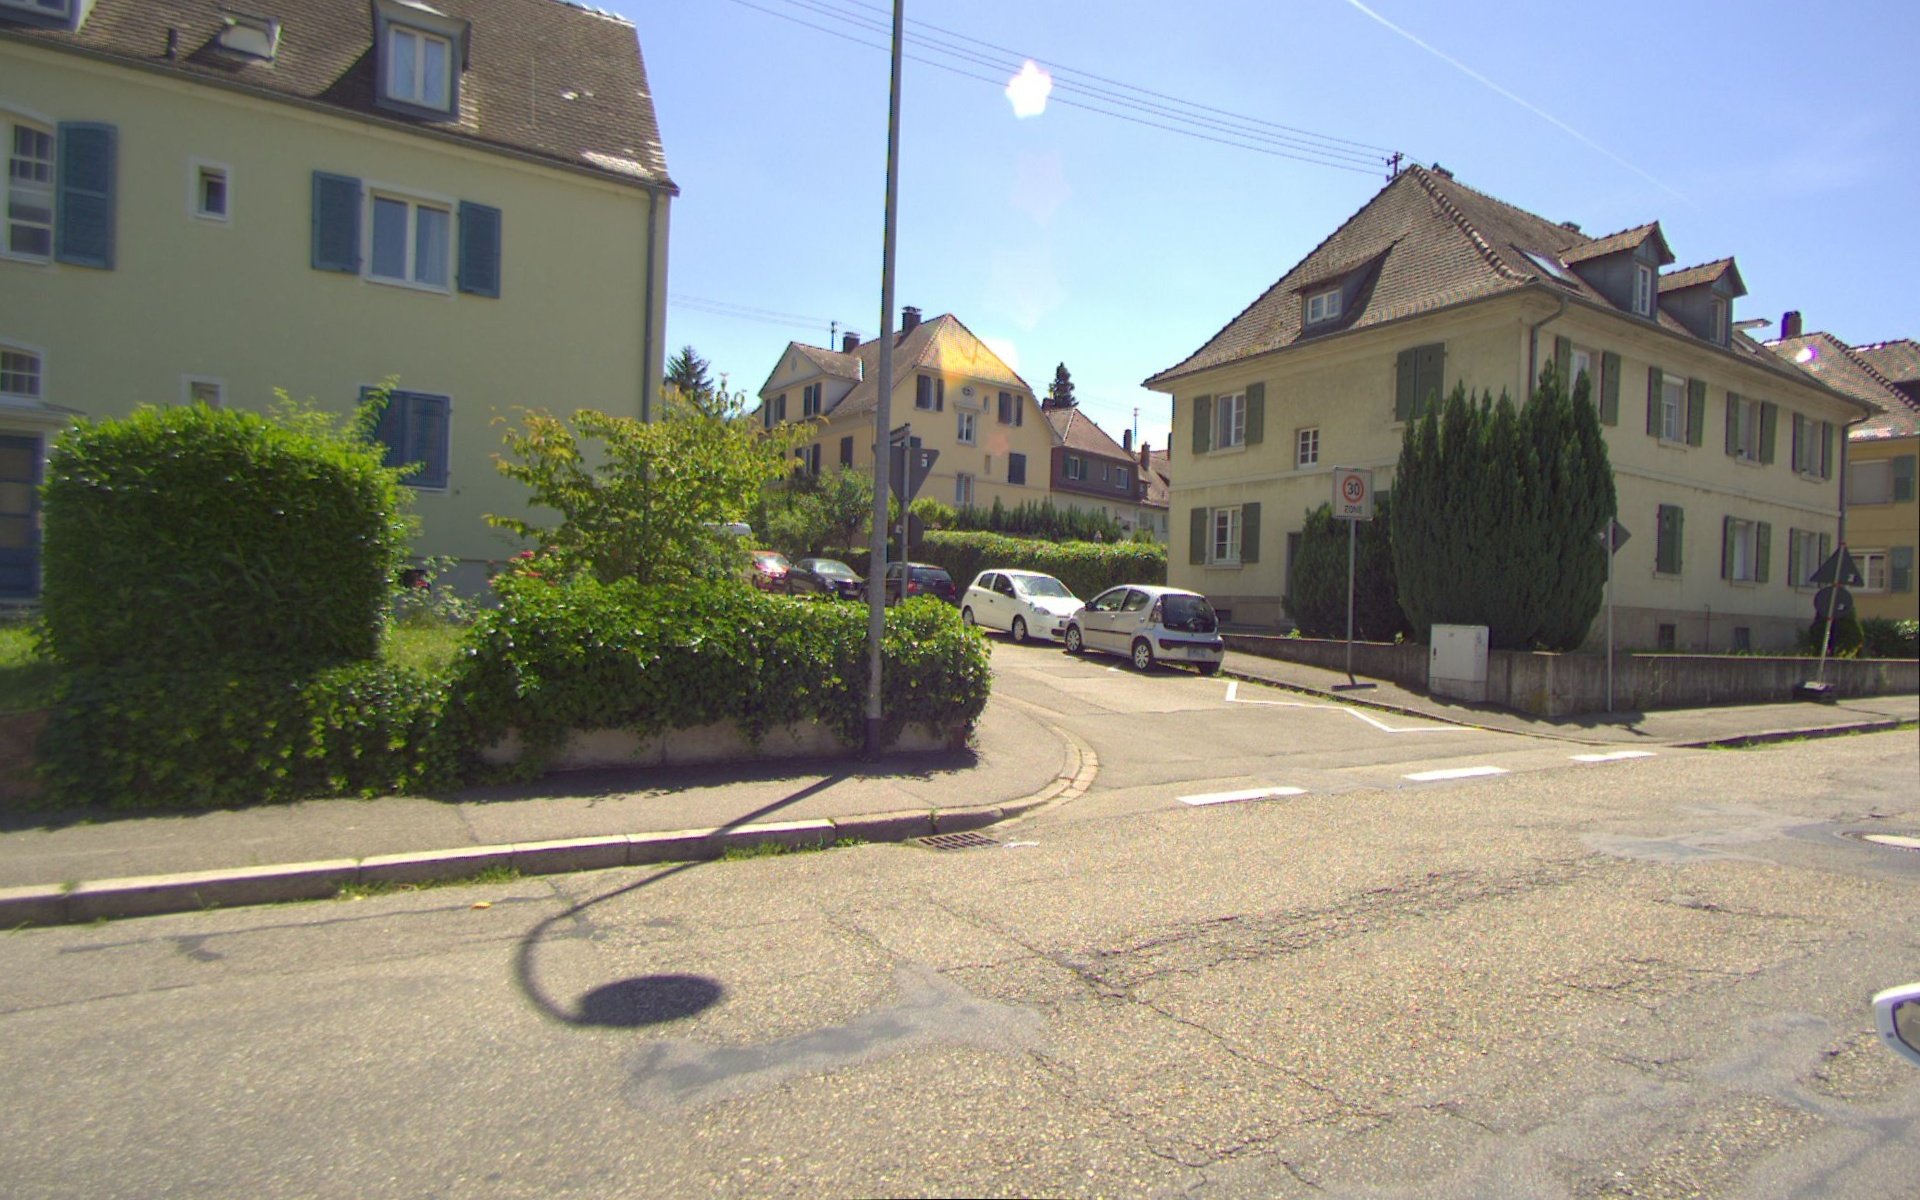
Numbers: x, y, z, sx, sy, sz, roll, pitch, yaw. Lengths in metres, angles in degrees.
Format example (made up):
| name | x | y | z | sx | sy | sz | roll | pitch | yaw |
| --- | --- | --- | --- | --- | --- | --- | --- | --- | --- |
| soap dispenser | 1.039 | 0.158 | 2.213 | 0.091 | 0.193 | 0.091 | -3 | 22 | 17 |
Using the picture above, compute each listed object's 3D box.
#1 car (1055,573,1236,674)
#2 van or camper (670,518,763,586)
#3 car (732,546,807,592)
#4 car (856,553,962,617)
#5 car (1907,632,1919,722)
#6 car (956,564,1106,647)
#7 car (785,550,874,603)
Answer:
| name | x | y | z | sx | sy | sz | roll | pitch | yaw |
| --- | --- | --- | --- | --- | --- | --- | --- | --- | --- |
| car | 3.350 | 0.381 | 18.693 | 1.711 | 1.476 | 3.192 | 3 | 4 | -24 |
| van or camper | -10.795 | -2.097 | 44.221 | 1.982 | 2.747 | 5.312 | 2 | 1 | -37 |
| car | -7.335 | -1.203 | 38.433 | 1.728 | 1.476 | 3.564 | 3 | 3 | -29 |
| car | -1.491 | -0.448 | 28.298 | 1.713 | 1.476 | 3.189 | 3 | 4 | -28 |
| car | 17.764 | 1.313 | 16.959 | 3.883 | 1.466 | 1.749 | 2 | -1 | -33 |
| car | 1.468 | 0.062 | 22.052 | 1.725 | 1.476 | 3.570 | 3 | 3 | -24 |
| car | -4.371 | -0.799 | 33.153 | 1.727 | 1.476 | 3.565 | 3 | 3 | -28 |
